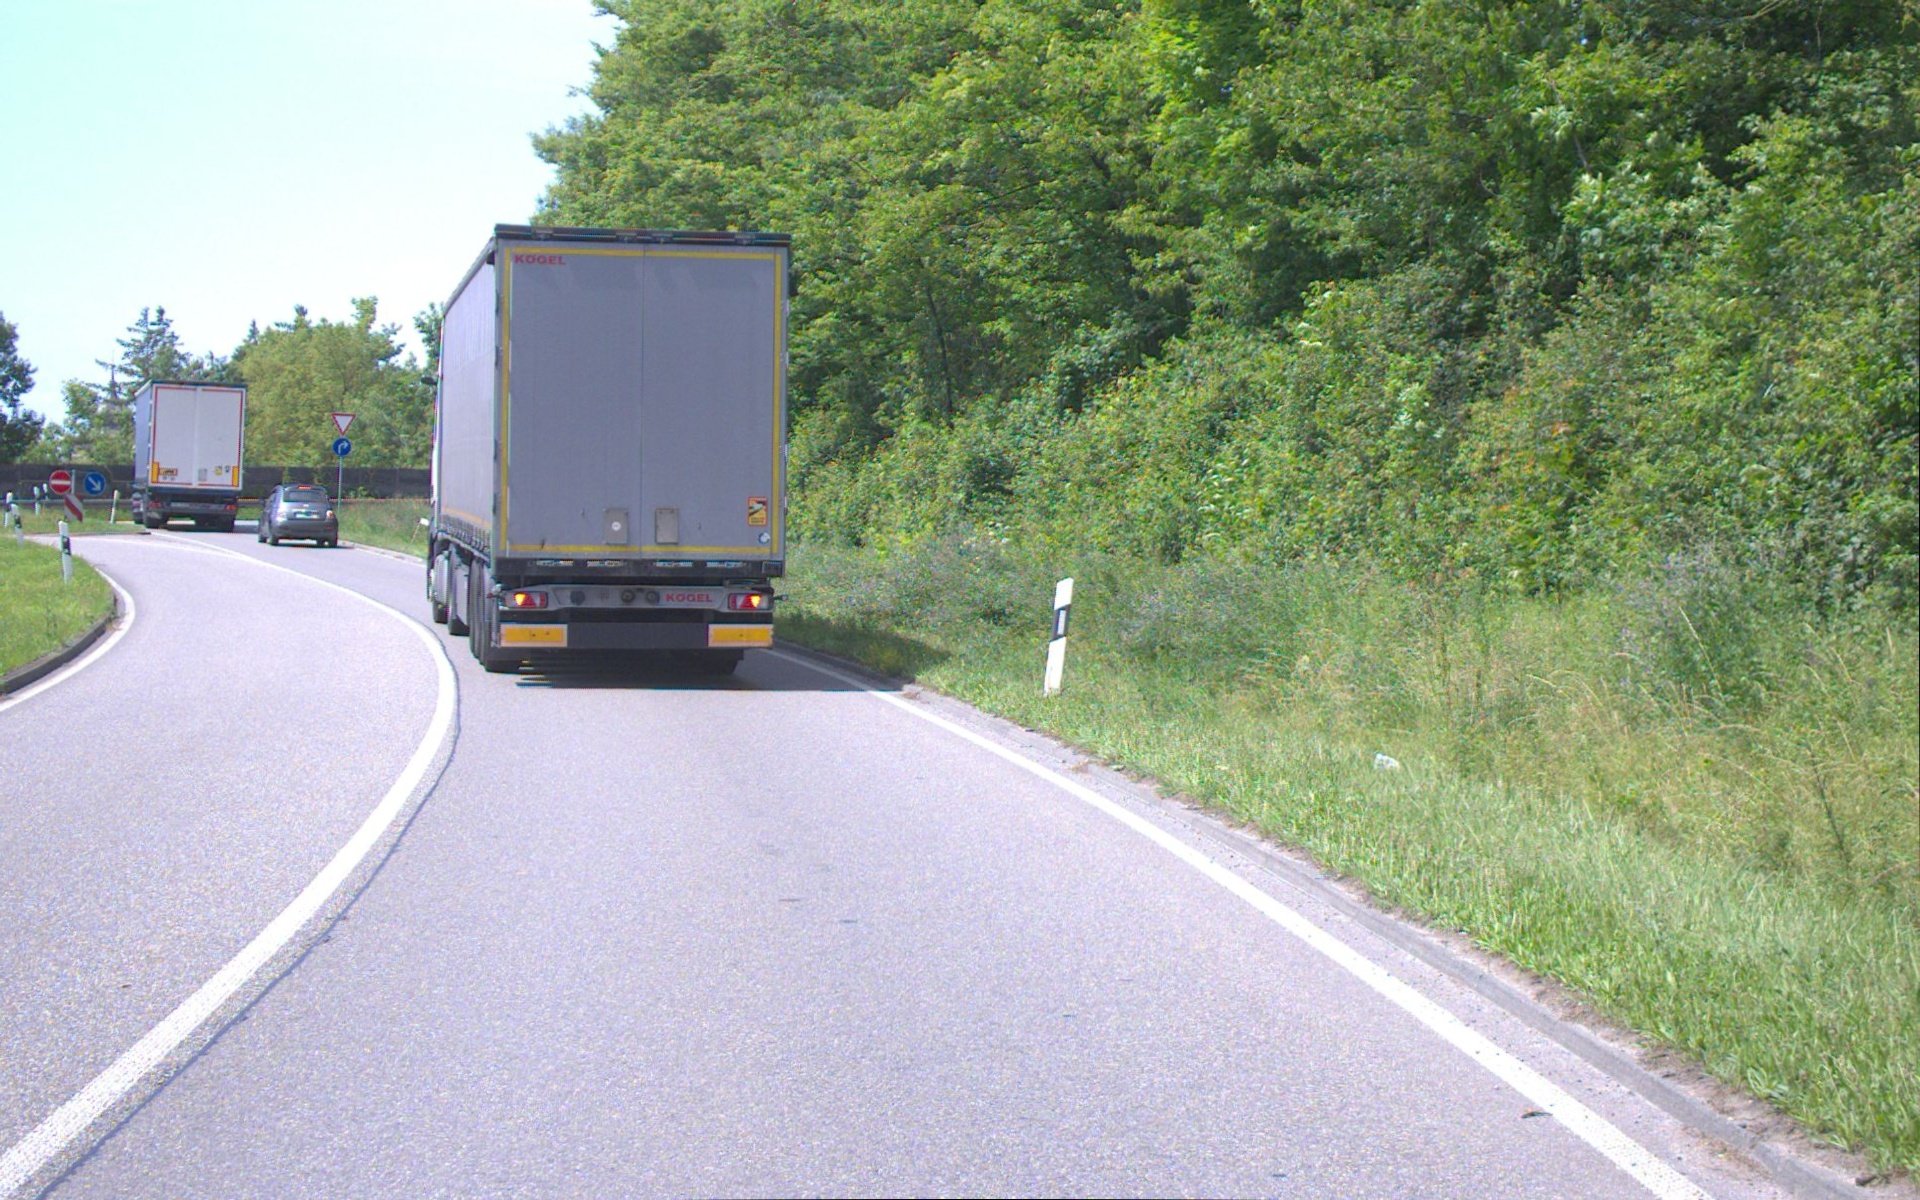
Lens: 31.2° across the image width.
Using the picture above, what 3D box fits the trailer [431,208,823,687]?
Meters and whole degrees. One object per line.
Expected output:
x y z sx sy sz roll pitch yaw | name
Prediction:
-3.848 -1.444 35.965 3.026 4.021 13.356 1 1 -10 | trailer

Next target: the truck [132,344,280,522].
-22.187 -4.757 100.474 3.827 4.728 16.209 0 2 -14 | truck

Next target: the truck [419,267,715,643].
-5.031 -1.719 42.730 3.152 4.210 7.124 1 1 -10 | truck

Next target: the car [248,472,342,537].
-16.272 -2.345 84.011 1.665 1.481 4.002 1 2 -20 | car
